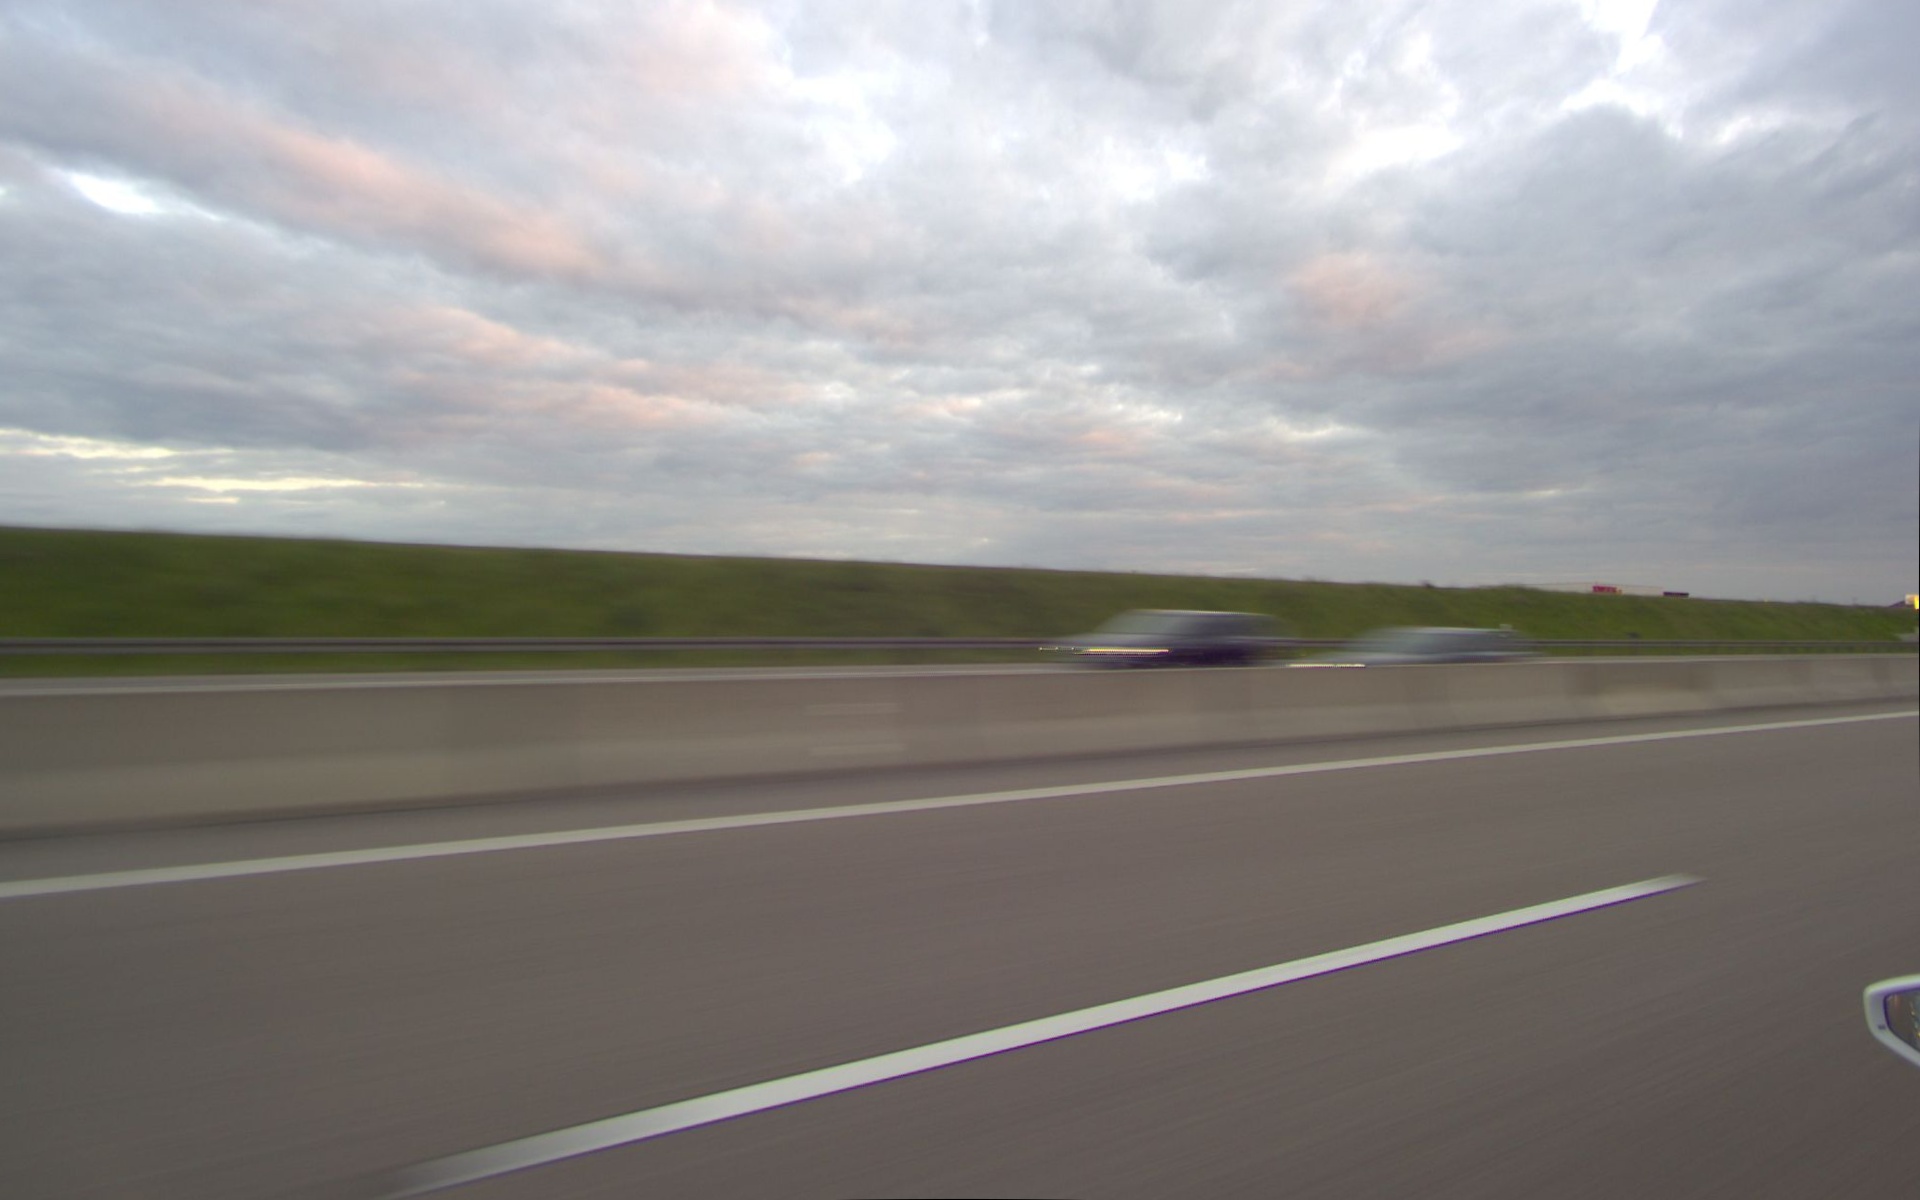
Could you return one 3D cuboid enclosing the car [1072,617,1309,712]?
[{"bbox_3d":[5.052,1.318,21.794,4.963,1.834,2.089,1,-1,-31],"label":"car"}]

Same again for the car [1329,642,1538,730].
[{"bbox_3d":[9.309,1.619,19.696,4.083,1.519,1.730,1,-1,-31],"label":"car"}]
